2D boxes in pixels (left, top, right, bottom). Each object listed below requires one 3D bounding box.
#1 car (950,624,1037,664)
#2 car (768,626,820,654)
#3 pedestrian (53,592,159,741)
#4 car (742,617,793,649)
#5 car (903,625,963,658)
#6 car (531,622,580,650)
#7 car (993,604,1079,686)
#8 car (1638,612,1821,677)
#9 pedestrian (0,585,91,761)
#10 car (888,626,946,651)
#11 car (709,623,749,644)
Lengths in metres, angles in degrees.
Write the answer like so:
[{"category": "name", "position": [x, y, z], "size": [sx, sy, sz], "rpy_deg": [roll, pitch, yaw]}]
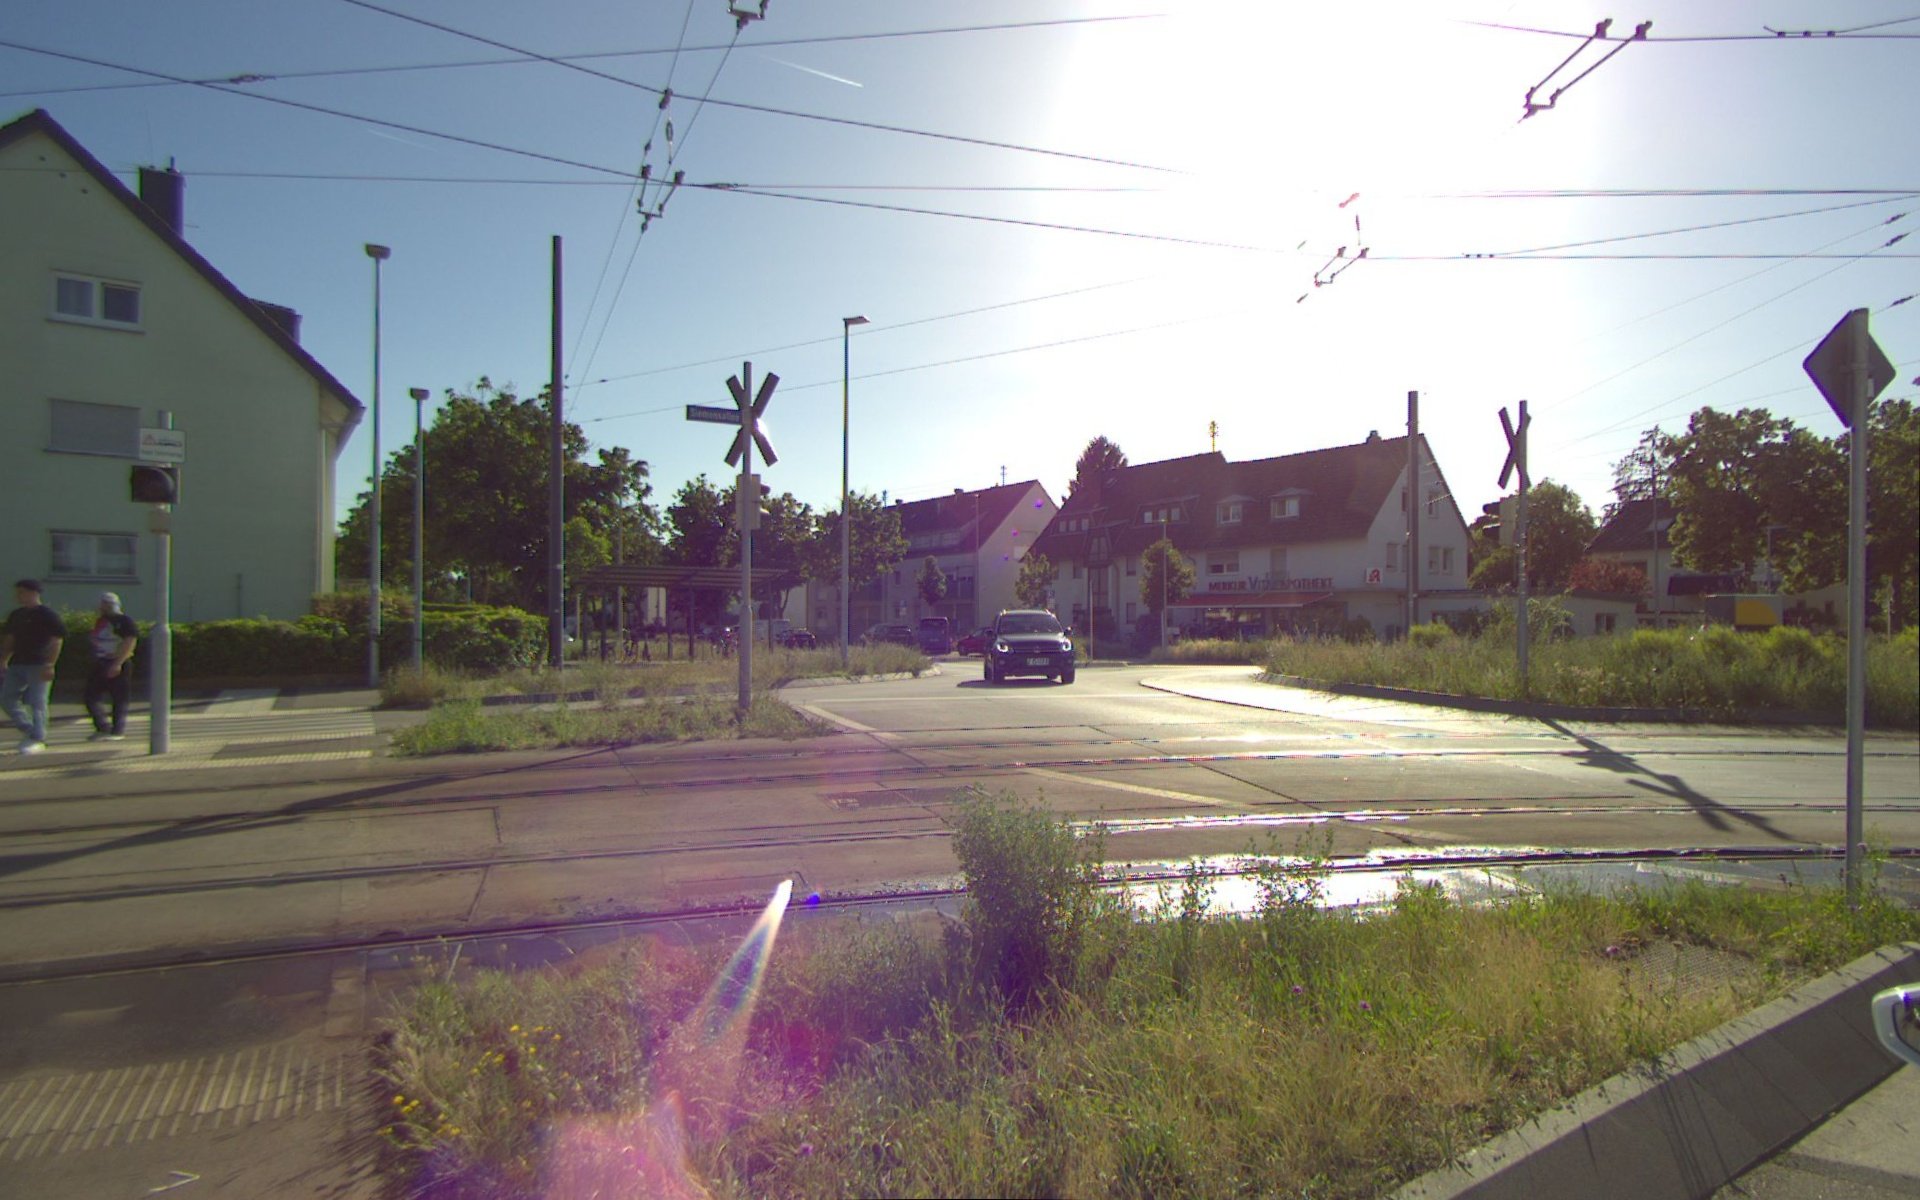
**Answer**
[{"category": "car", "position": [1.591, 2.100, 48.834], "size": [1.981, 1.721, 4.326], "rpy_deg": [1, 0, -36]}, {"category": "car", "position": [-11.011, 2.643, 66.462], "size": [1.903, 1.637, 4.247], "rpy_deg": [1, 0, -32]}, {"category": "pedestrian", "position": [-10.238, 0.774, 12.044], "size": [0.783, 1.683, 0.725], "rpy_deg": [3, -1, 35]}, {"category": "car", "position": [-13.855, 2.344, 72.101], "size": [1.879, 2.041, 4.326], "rpy_deg": [1, 0, -36]}, {"category": "car", "position": [-1.452, 2.179, 53.092], "size": [3.020, 1.641, 1.409], "rpy_deg": [1, 0, -6]}, {"category": "car", "position": [-23.192, 2.061, 57.513], "size": [1.809, 1.411, 3.753], "rpy_deg": [1, 0, -35]}, {"category": "car", "position": [1.752, 1.055, 23.247], "size": [1.781, 1.692, 4.261], "rpy_deg": [-1, -3, 4]}, {"category": "car", "position": [25.846, 1.516, 33.803], "size": [5.146, 2.007, 1.996], "rpy_deg": [2, -3, -12]}, {"category": "pedestrian", "position": [-9.965, 0.758, 10.723], "size": [0.678, 1.794, 0.823], "rpy_deg": [3, -1, 35]}, {"category": "car", "position": [-2.467, 2.210, 57.505], "size": [3.107, 1.315, 1.380], "rpy_deg": [1, 0, -11]}, {"category": "car", "position": [-17.727, 2.548, 77.043], "size": [1.531, 1.613, 4.035], "rpy_deg": [1, -1, -36]}]
